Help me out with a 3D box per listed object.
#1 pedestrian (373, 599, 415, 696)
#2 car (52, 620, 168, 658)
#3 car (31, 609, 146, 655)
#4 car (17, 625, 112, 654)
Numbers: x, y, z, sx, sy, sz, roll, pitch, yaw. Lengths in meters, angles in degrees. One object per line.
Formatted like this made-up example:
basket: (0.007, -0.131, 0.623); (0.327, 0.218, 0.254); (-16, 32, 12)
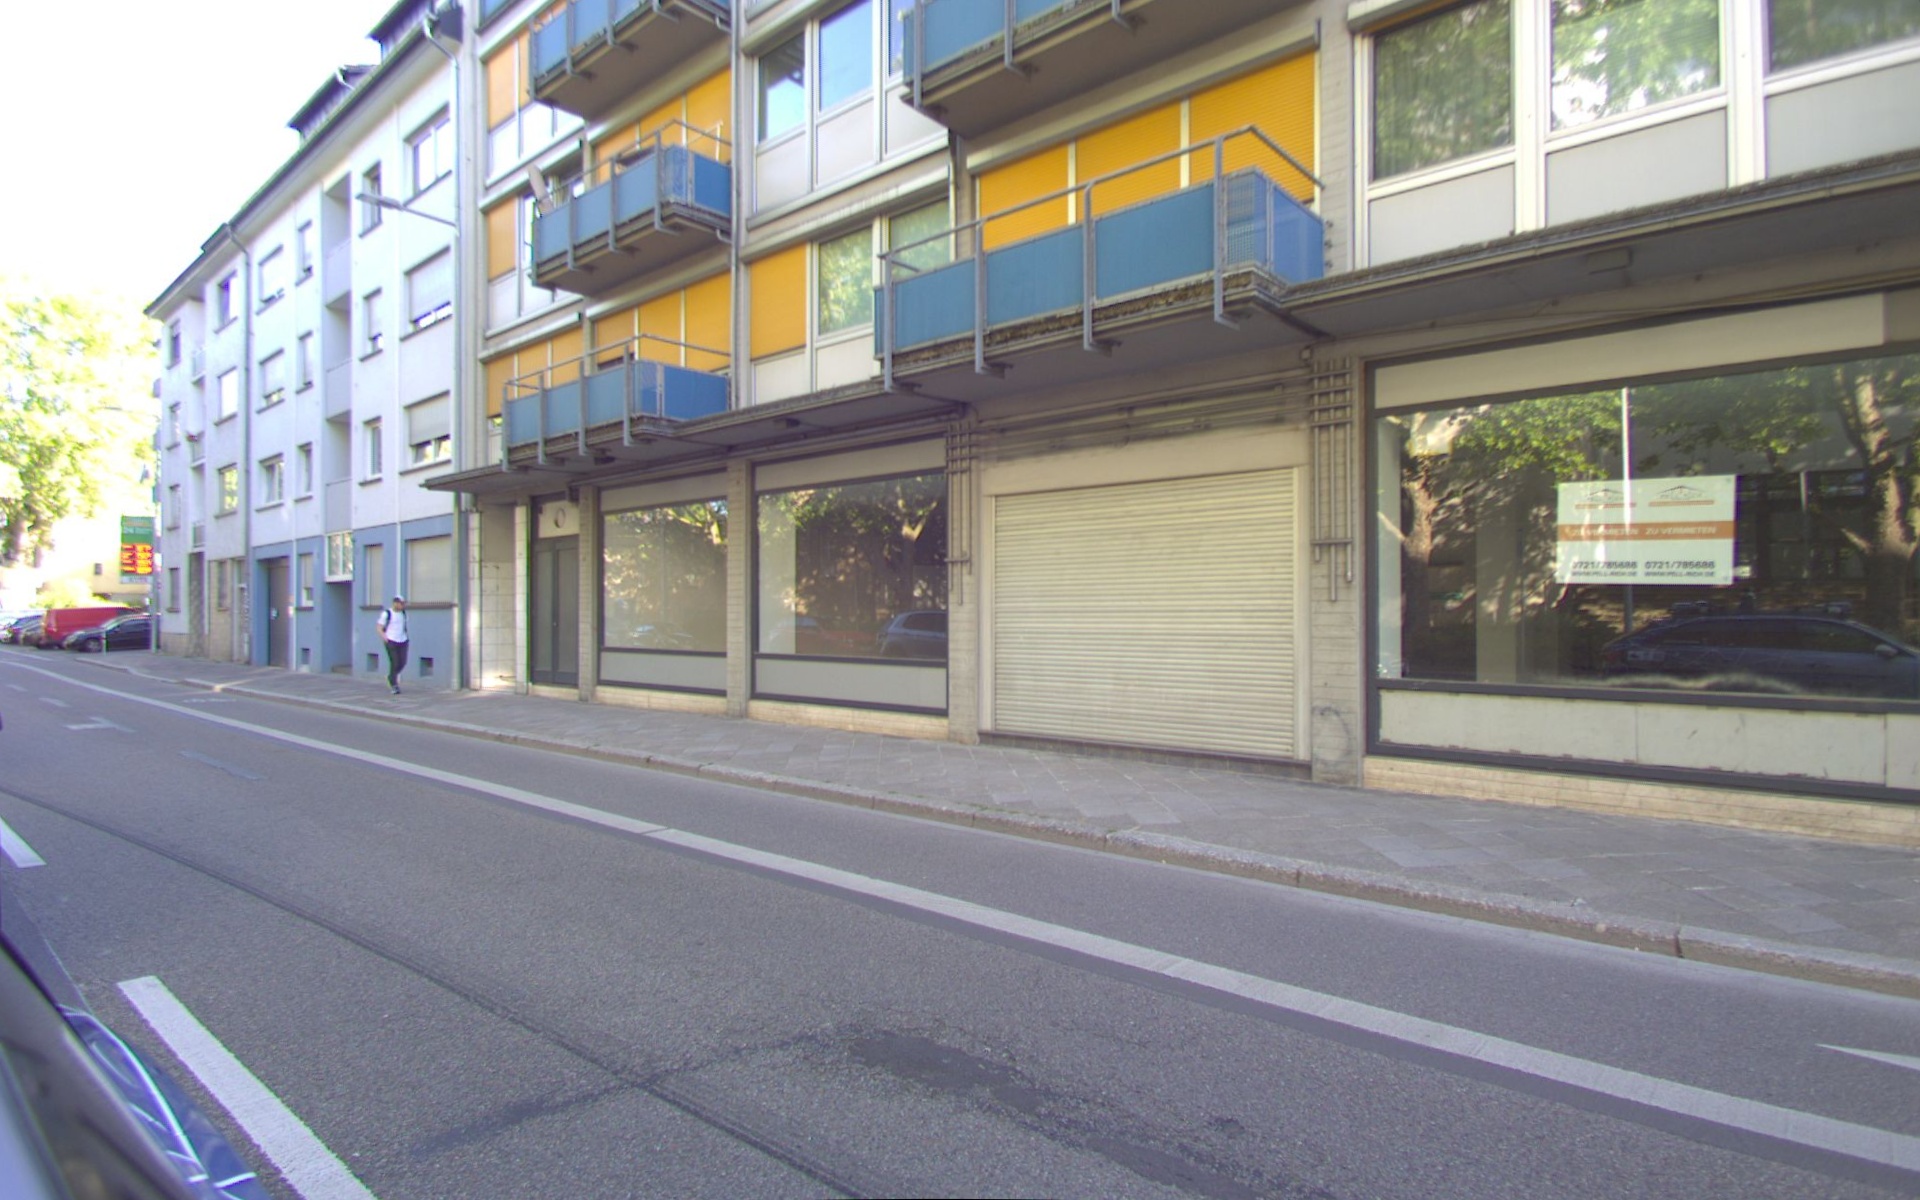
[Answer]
pedestrian: (-10.428, 0.859, 18.652); (0.343, 1.739, 0.562); (-1, 0, 41)
car: (-36.829, 1.664, 43.919); (1.635, 1.422, 3.623); (-1, 0, 41)
car: (-40.799, 1.471, 47.445); (1.635, 1.937, 3.878); (-1, 0, 41)
car: (-43.144, 1.880, 48.788); (1.294, 1.258, 3.283); (-1, 0, 41)
